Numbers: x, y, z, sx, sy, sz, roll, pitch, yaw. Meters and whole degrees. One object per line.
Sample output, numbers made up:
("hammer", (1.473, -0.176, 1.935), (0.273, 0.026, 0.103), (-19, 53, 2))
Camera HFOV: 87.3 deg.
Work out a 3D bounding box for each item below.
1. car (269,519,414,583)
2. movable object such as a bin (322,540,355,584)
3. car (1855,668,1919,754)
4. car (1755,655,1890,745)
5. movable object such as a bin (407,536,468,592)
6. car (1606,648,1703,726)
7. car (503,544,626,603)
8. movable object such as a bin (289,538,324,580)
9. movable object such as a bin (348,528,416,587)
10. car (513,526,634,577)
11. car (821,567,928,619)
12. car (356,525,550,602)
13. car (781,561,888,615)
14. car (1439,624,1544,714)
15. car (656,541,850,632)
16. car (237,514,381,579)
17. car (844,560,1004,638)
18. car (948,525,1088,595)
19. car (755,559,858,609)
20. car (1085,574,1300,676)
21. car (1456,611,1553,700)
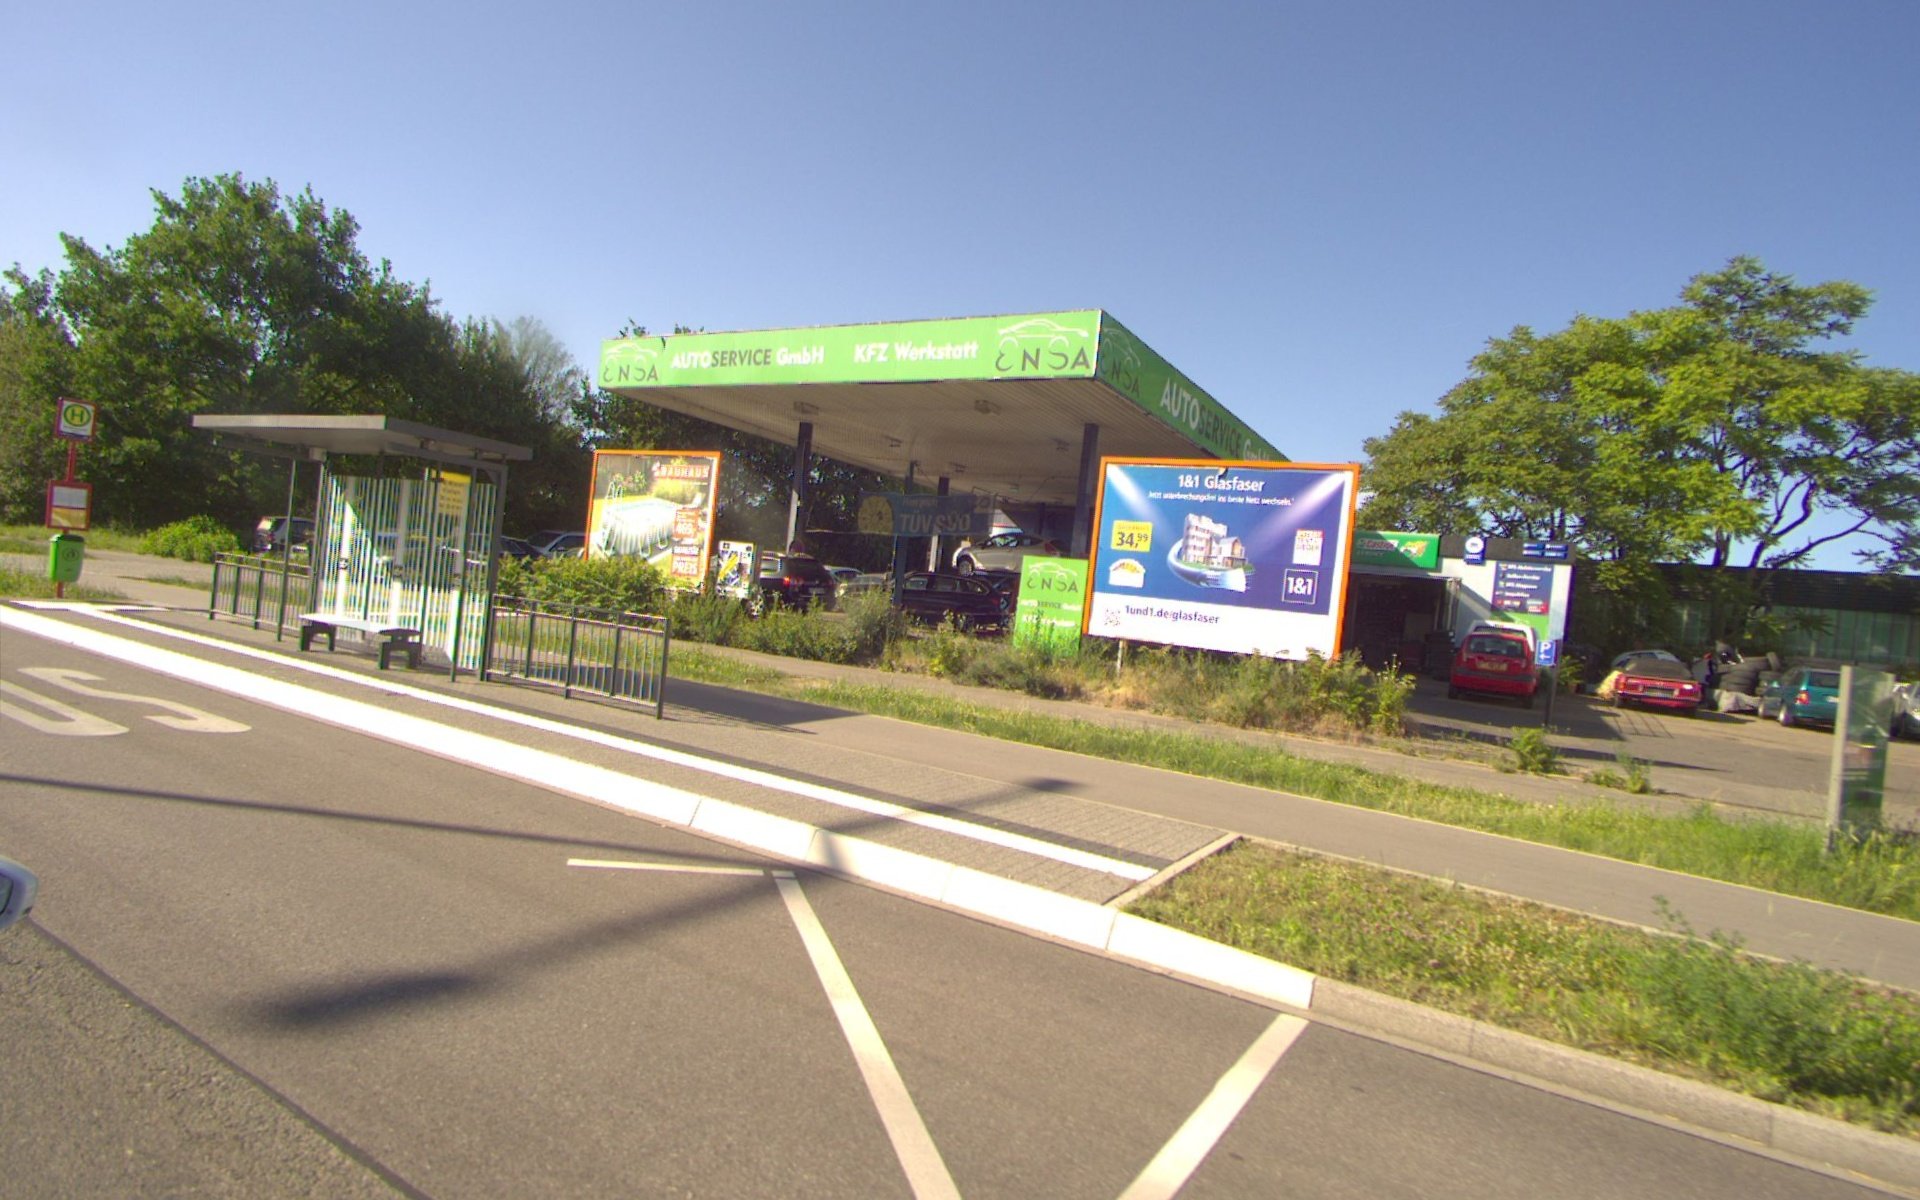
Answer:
("car", (-18.833, -1.467, 30.743), (1.700, 1.434, 3.289), (6, -2, 33))
("movable object such as a bin", (-17.208, -1.045, 27.860), (0.501, 1.134, 0.581), (6, 0, -10))
("car", (22.946, 2.625, 23.677), (1.961, 1.542, 4.199), (3, 3, 31))
("car", (20.328, 2.269, 23.893), (1.638, 1.620, 4.201), (3, 2, 31))
("movable object such as a bin", (-14.892, -1.006, 28.713), (1.204, 1.446, 0.987), (6, 0, -11))
("car", (17.015, 2.065, 24.802), (1.638, 1.395, 3.761), (3, 3, 31))
("car", (-13.153, -0.894, 33.420), (3.851, 1.481, 1.727), (6, -2, 32))
("movable object such as a bin", (-17.919, -1.117, 27.598), (0.501, 1.088, 0.581), (7, 0, -10))
("movable object such as a bin", (-16.097, -1.170, 28.042), (1.240, 1.446, 0.987), (7, 0, -11))
("car", (-14.647, -1.810, 38.319), (1.706, 1.551, 4.037), (6, 1, 33))
("car", (-2.871, -0.218, 34.511), (1.682, 1.435, 3.994), (6, 0, 27))
("car", (-13.670, -0.981, 27.269), (4.506, 1.662, 1.788), (4, 2, -29))
("car", (-4.373, -0.385, 35.579), (1.705, 1.536, 3.994), (6, 0, 27))
("car", (11.970, 1.459, 22.549), (1.818, 1.570, 3.761), (3, 3, 31))
("car", (-4.742, -0.328, 22.834), (4.179, 1.592, 1.746), (6, 0, 33))
("car", (-20.517, -1.658, 31.807), (1.743, 1.503, 3.289), (6, -2, 33))
("car", (-0.984, 0.010, 26.582), (3.929, 1.503, 2.000), (7, -2, -5))
("car", (1.761, -1.244, 30.959), (3.716, 1.777, 1.920), (6, 0, 33))
("car", (-5.948, -0.629, 38.913), (3.643, 1.481, 1.611), (6, -2, 32))
("car", (4.977, 0.520, 21.593), (3.934, 1.666, 1.997), (6, -2, 31))
("car", (14.239, 1.498, 26.200), (1.892, 1.929, 3.698), (6, -2, 31))
